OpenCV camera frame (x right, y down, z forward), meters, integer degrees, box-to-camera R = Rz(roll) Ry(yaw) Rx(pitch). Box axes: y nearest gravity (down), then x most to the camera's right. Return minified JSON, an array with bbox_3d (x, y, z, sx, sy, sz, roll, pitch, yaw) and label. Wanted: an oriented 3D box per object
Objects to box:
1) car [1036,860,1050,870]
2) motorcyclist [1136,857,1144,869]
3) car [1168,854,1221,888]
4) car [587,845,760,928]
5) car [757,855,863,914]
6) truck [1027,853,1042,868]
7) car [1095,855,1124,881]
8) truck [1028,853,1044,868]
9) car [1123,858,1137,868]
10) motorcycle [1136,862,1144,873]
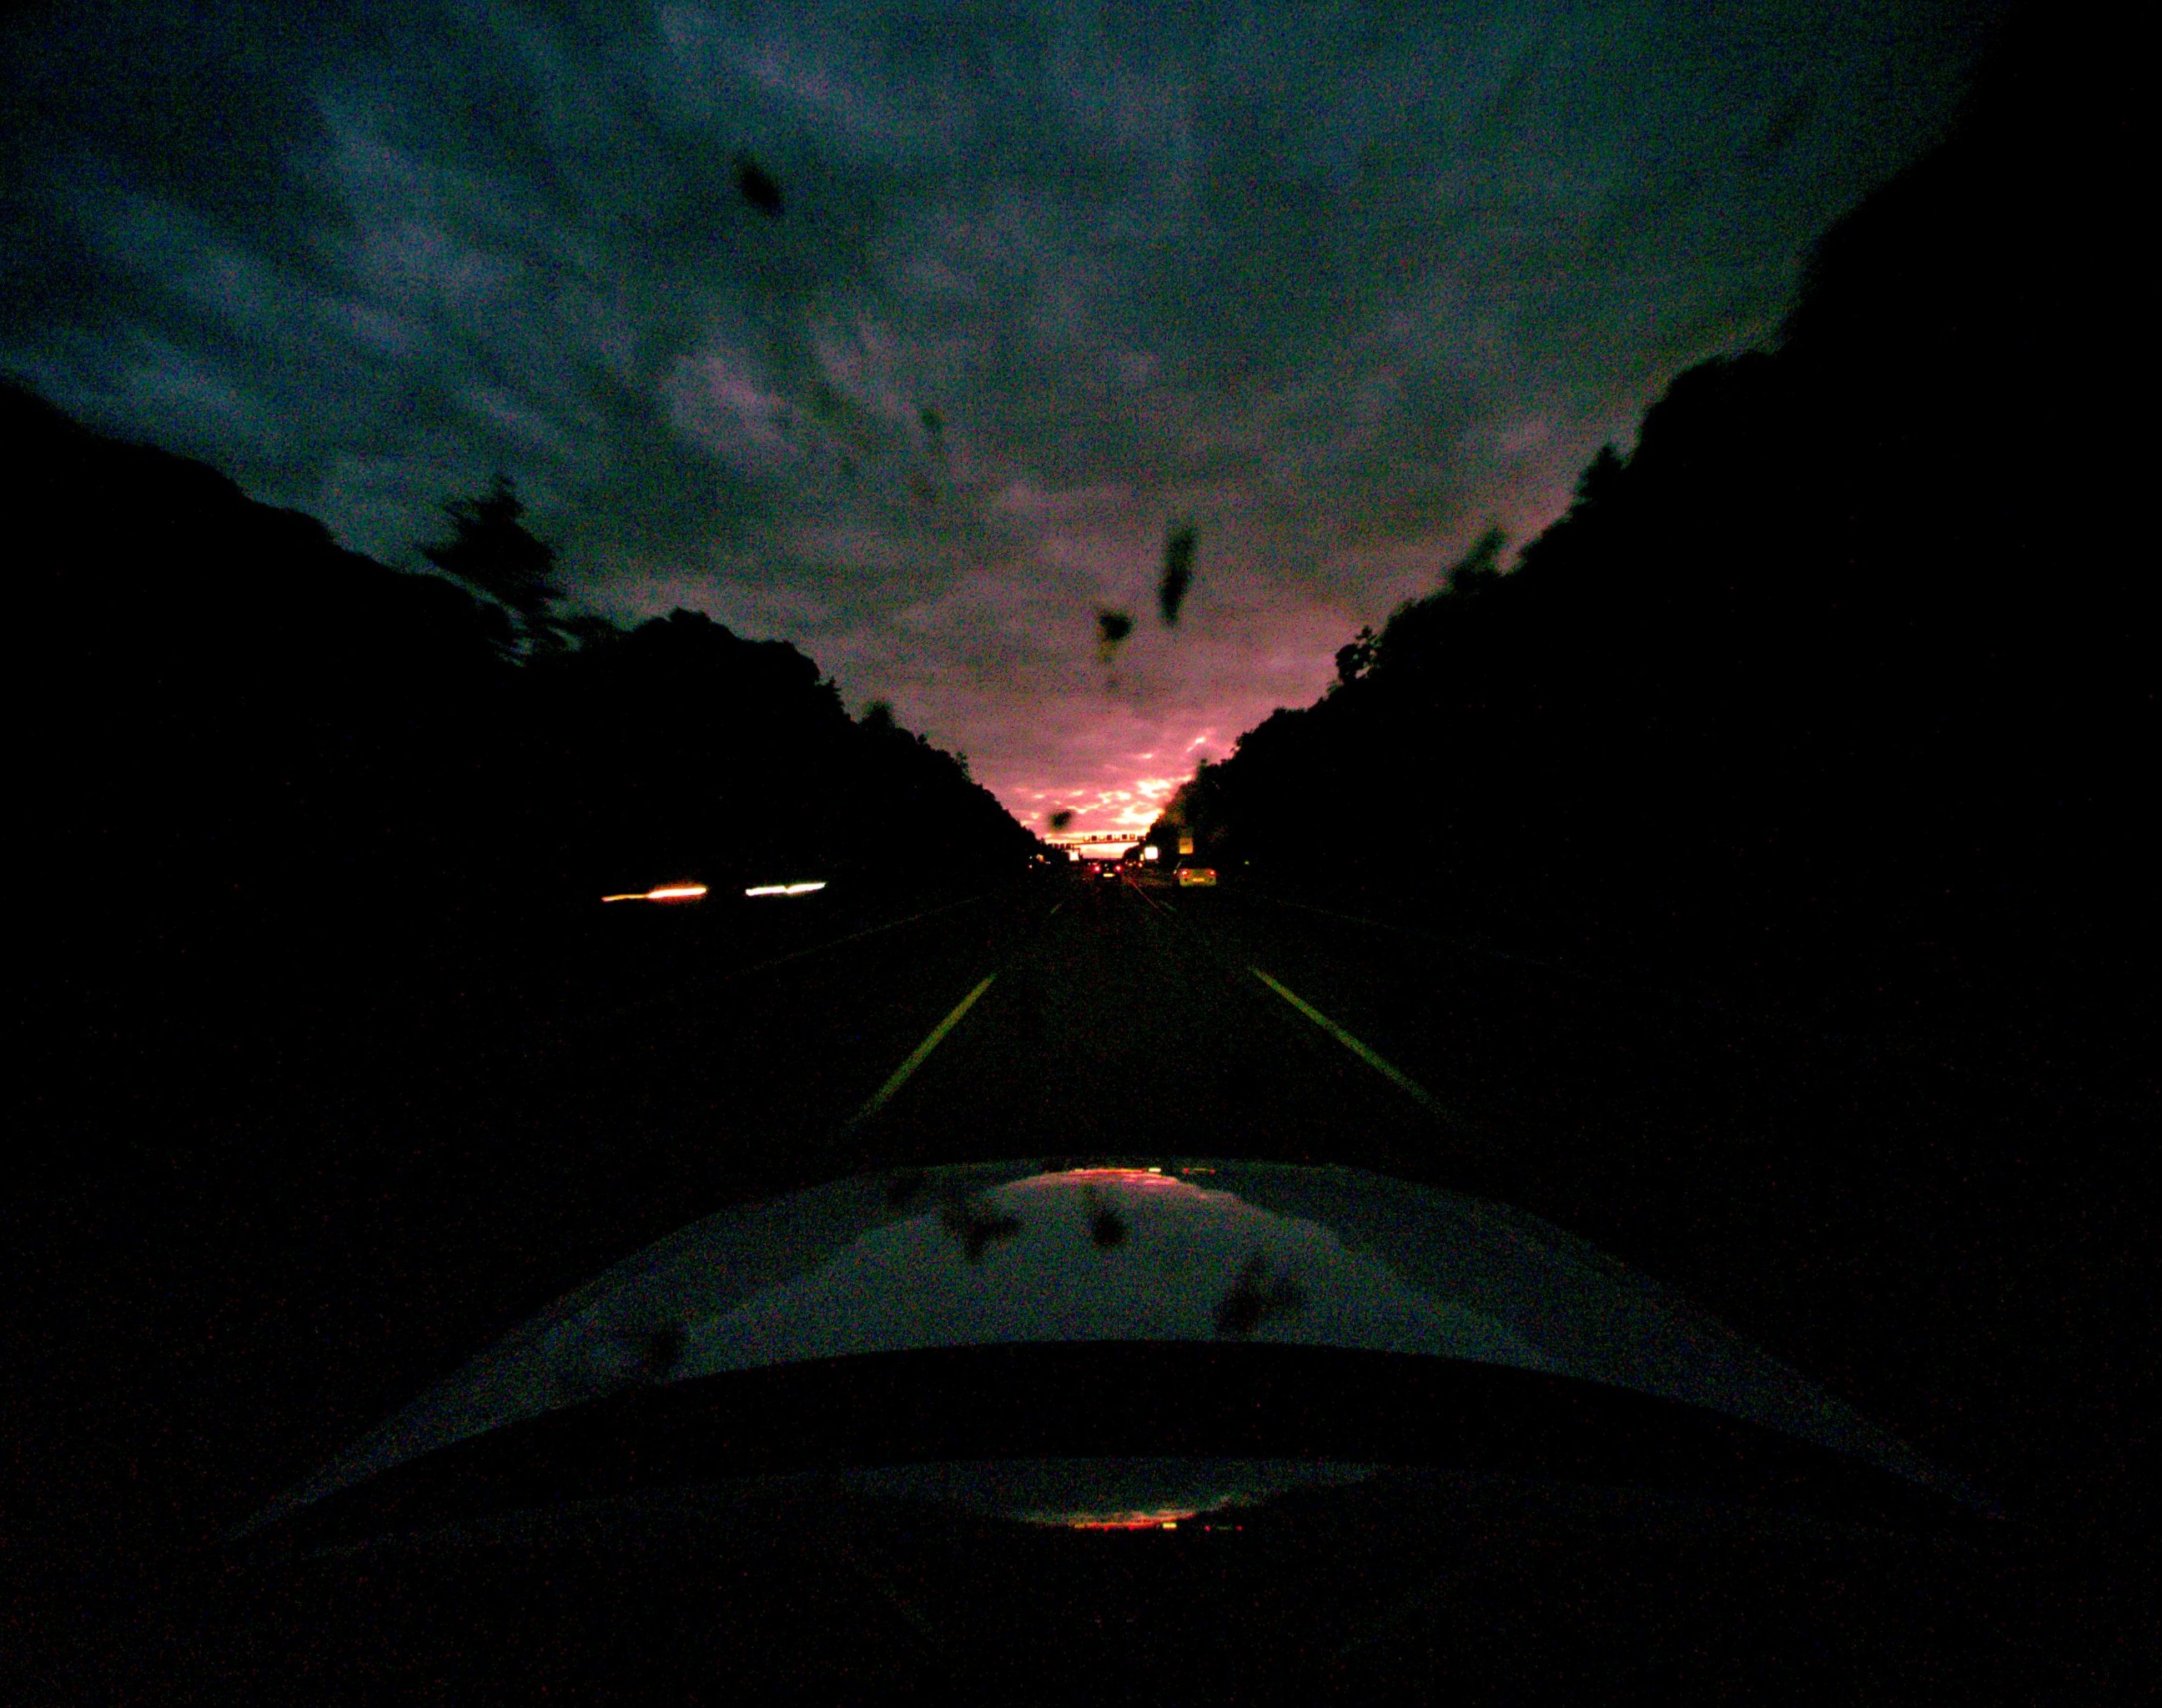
[{"bbox_3d":[-6.655,1.999,143.518,1.910,1.613,5.161,-3,0,2],"label":"car"},{"bbox_3d":[6.511,1.036,90.283,0.827,1.292,1.190,-2,-1,1],"label":"motorcyclist"},{"bbox_3d":[5.178,0.810,37.734,1.820,1.476,4.397,0,-2,0],"label":"car"},{"bbox_3d":[-14.223,1.023,29.219,2.305,2.484,7.519,-2,0,0],"label":"car"},{"bbox_3d":[-10.306,1.073,31.453,1.985,2.013,5.363,-2,0,3],"label":"car"},{"bbox_3d":[-12.648,1.845,222.724,3.369,4.003,6.879,-2,-1,1],"label":"truck"},{"bbox_3d":[1.734,0.904,50.126,1.697,1.509,4.233,0,-2,2],"label":"car"},{"bbox_3d":[-12.579,1.941,229.705,3.345,4.003,14.497,-2,-1,1],"label":"truck"},{"bbox_3d":[7.908,1.507,132.352,1.861,1.494,4.393,0,-2,-3],"label":"car"},{"bbox_3d":[6.530,1.510,90.340,0.826,1.134,2.476,-2,-1,1],"label":"motorcycle"}]
